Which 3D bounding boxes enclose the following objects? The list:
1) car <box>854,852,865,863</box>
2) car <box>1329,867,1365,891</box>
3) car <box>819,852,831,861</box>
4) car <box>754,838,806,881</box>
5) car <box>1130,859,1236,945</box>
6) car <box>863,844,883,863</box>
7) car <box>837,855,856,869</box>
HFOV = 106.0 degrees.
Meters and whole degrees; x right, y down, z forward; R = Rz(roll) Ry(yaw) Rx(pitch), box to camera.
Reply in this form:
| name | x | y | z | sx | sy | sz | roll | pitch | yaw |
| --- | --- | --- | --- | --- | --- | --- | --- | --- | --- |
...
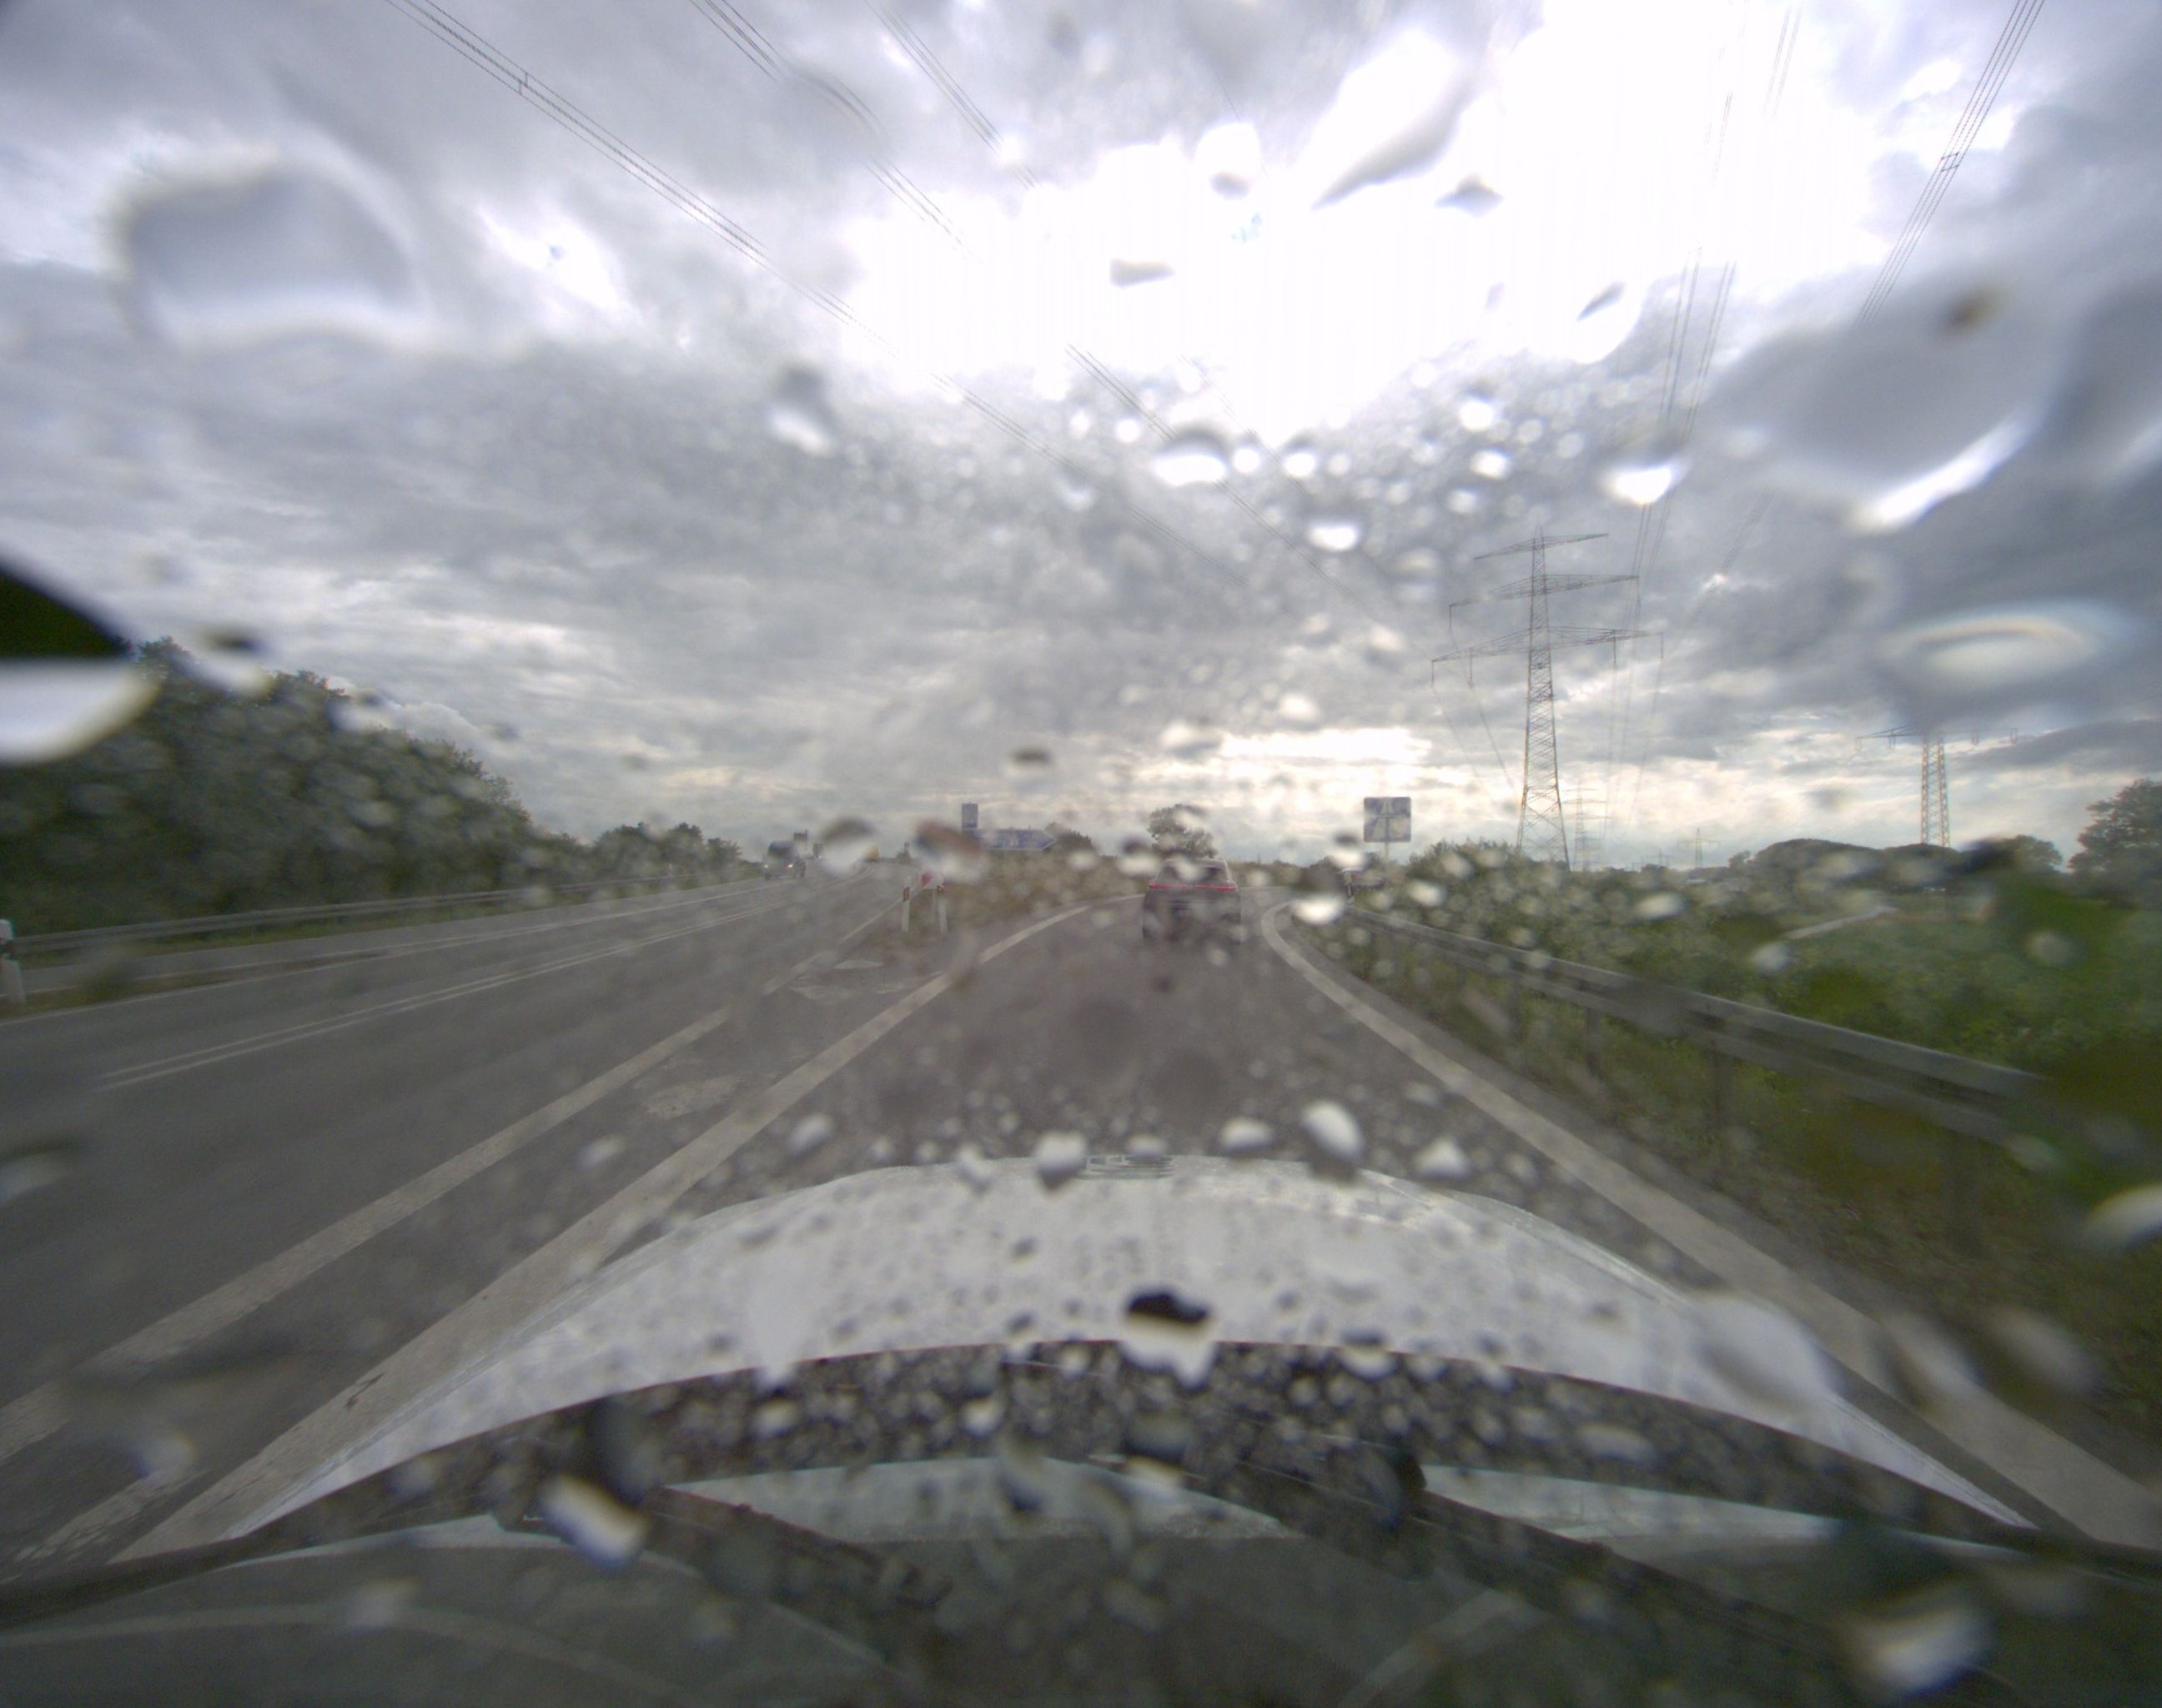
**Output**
| name | x | y | z | sx | sy | sz | roll | pitch | yaw |
| --- | --- | --- | --- | --- | --- | --- | --- | --- | --- |
| car | -36.994 | 0.590 | 136.114 | 1.795 | 1.688 | 3.977 | -1 | -2 | -16 |
| car | 17.359 | 1.635 | 53.087 | 1.775 | 1.441 | 4.021 | 1 | -2 | 24 |
| car | -41.265 | 0.363 | 131.254 | 1.657 | 1.447 | 3.367 | 1 | -1 | -17 |
| car | -20.620 | 0.330 | 56.130 | 2.353 | 2.701 | 6.965 | -1 | 1 | -12 |
| car | 1.998 | 0.849 | 15.851 | 1.781 | 1.441 | 4.008 | 0 | -1 | 8 |
| car | -30.445 | -0.055 | 119.254 | 2.579 | 2.725 | 7.156 | 0 | 0 | -16 |
| car | -23.537 | 0.780 | 81.658 | 1.748 | 1.365 | 4.027 | -1 | 0 | -16 |
